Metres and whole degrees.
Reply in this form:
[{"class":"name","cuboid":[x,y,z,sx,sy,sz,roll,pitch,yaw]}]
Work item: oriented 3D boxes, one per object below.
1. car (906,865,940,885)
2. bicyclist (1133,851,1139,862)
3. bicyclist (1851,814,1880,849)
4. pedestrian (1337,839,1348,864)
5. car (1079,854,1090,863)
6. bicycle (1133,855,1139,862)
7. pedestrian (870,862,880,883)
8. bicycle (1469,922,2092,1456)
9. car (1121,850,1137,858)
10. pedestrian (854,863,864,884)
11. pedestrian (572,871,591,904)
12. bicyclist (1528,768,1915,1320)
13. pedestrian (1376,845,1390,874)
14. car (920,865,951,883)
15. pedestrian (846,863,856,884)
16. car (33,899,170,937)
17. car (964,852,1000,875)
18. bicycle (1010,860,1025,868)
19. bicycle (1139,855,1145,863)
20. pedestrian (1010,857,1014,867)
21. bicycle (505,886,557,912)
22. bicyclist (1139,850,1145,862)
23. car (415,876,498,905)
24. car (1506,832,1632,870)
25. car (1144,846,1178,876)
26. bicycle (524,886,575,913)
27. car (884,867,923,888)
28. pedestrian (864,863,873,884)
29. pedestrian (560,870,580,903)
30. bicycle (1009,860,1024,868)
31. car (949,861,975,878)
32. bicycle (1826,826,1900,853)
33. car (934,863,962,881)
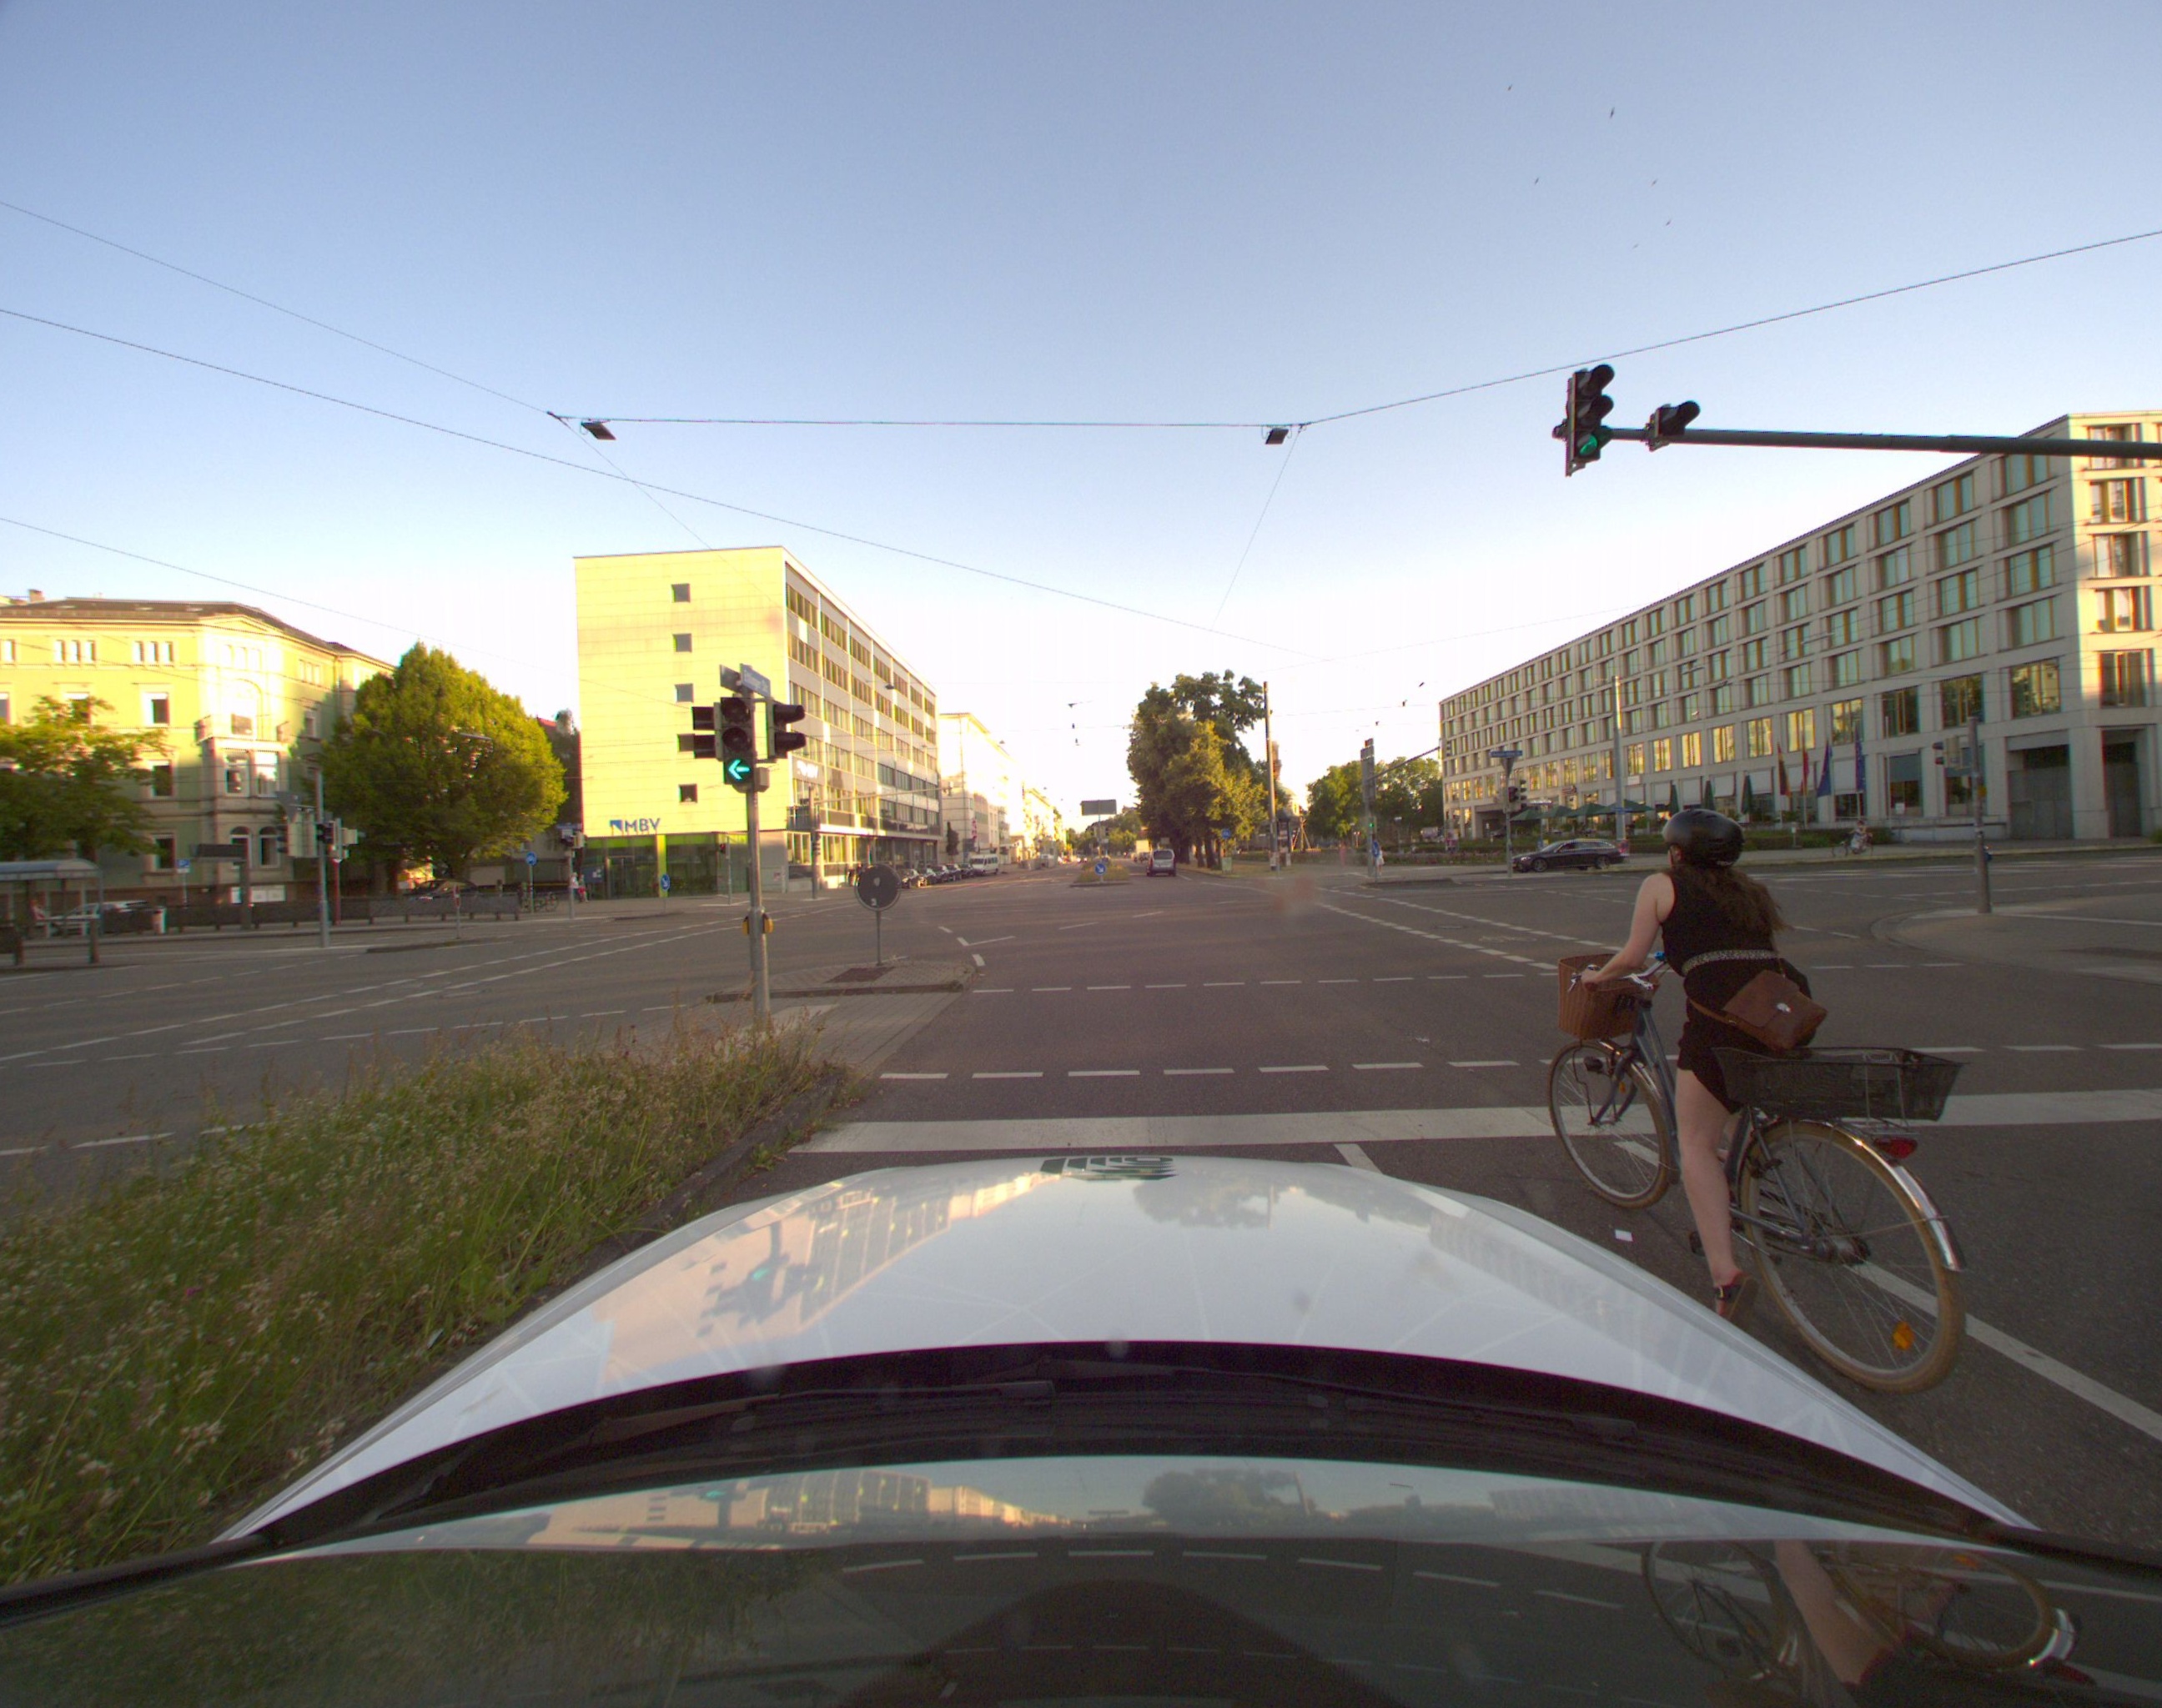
[{"class":"car","cuboid":[-13.320,1.769,68.833,1.913,1.464,4.002,-3,0,2]},{"class":"bicyclist","cuboid":[8.443,0.433,124.704,0.744,1.663,0.873,-3,0,1]},{"class":"bicyclist","cuboid":[35.597,-1.028,36.972,0.705,1.537,0.577,-3,0,-1]},{"class":"pedestrian","cuboid":[17.167,-0.153,53.450,0.458,1.656,0.567,-3,0,1]},{"class":"car","cuboid":[0.655,0.797,151.573,1.855,1.519,4.003,-3,0,3]},{"class":"bicycle","cuboid":[8.478,0.684,125.258,0.744,1.144,2.506,-3,0,2]},{"class":"pedestrian","cuboid":[-16.686,1.516,65.928,0.549,1.679,0.500,-3,0,1]},{"class":"bicycle","cuboid":[2.187,0.905,2.997,0.609,1.132,2.005,-1,0,2]},{"class":"car","cuboid":[12.817,-0.030,215.433,3.977,2.013,1.998,-3,0,-3]},{"class":"pedestrian","cuboid":[-18.112,1.582,66.498,0.549,1.679,0.500,-3,0,1]},{"class":"pedestrian","cuboid":[-27.856,1.852,45.427,0.641,1.790,0.720,-3,0,-12]},{"class":"bicyclist","cuboid":[2.183,0.567,2.928,0.597,1.636,0.999,-1,0,2]},{"class":"pedestrian","cuboid":[15.955,0.292,43.043,0.489,1.540,0.408,-3,0,1]},{"class":"car","cuboid":[-13.112,1.815,73.646,1.913,1.464,4.002,-3,0,2]},{"class":"pedestrian","cuboid":[-18.557,1.578,65.761,0.549,1.679,0.500,-3,0,1]},{"class":"car","cuboid":[-45.130,2.926,37.621,3.588,1.372,1.833,-3,0,-15]},{"class":"car","cuboid":[-11.066,1.029,91.607,1.988,2.478,5.888,-3,0,12]},{"class":"bicycle","cuboid":[-10.124,1.557,129.255,2.198,1.236,0.839,-3,0,0]},{"class":"bicycle","cuboid":[9.351,0.703,125.005,0.744,1.144,2.506,-3,0,2]},{"class":"pedestrian","cuboid":[-14.045,1.541,165.345,0.677,2.013,0.545,-3,0,1]},{"class":"bicycle","cuboid":[-26.826,2.190,39.745,0.832,1.112,2.216,-3,0,6]},{"class":"bicyclist","cuboid":[9.325,0.288,124.905,0.744,1.691,0.799,-3,0,1]},{"class":"car","cuboid":[-35.232,2.019,46.036,1.830,1.372,3.594,-3,0,0]},{"class":"car","cuboid":[23.353,-0.136,39.126,4.803,1.515,2.002,-3,0,4]},{"class":"car","cuboid":[5.446,0.473,55.885,1.757,1.888,4.498,-3,0,0]},{"class":"bicycle","cuboid":[-25.931,2.209,39.785,0.832,1.112,2.216,-3,0,6]},{"class":"car","cuboid":[-13.516,1.770,62.302,1.913,1.464,4.105,-3,0,2]},{"class":"pedestrian","cuboid":[-17.361,1.560,66.465,0.498,1.679,0.500,-3,0,1]},{"class":"pedestrian","cuboid":[-28.003,1.775,44.609,0.641,1.790,0.720,-3,0,-12]},{"class":"bicycle","cuboid":[-9.992,1.576,125.758,2.198,1.112,0.619,-3,0,0]},{"class":"car","cuboid":[-12.392,1.598,85.171,1.913,1.568,4.002,-3,0,2]},{"class":"bicycle","cuboid":[35.500,-0.655,36.970,2.762,1.106,0.602,-3,0,-1]},{"class":"car","cuboid":[-12.860,1.715,78.948,1.913,1.568,4.002,-3,0,2]}]
